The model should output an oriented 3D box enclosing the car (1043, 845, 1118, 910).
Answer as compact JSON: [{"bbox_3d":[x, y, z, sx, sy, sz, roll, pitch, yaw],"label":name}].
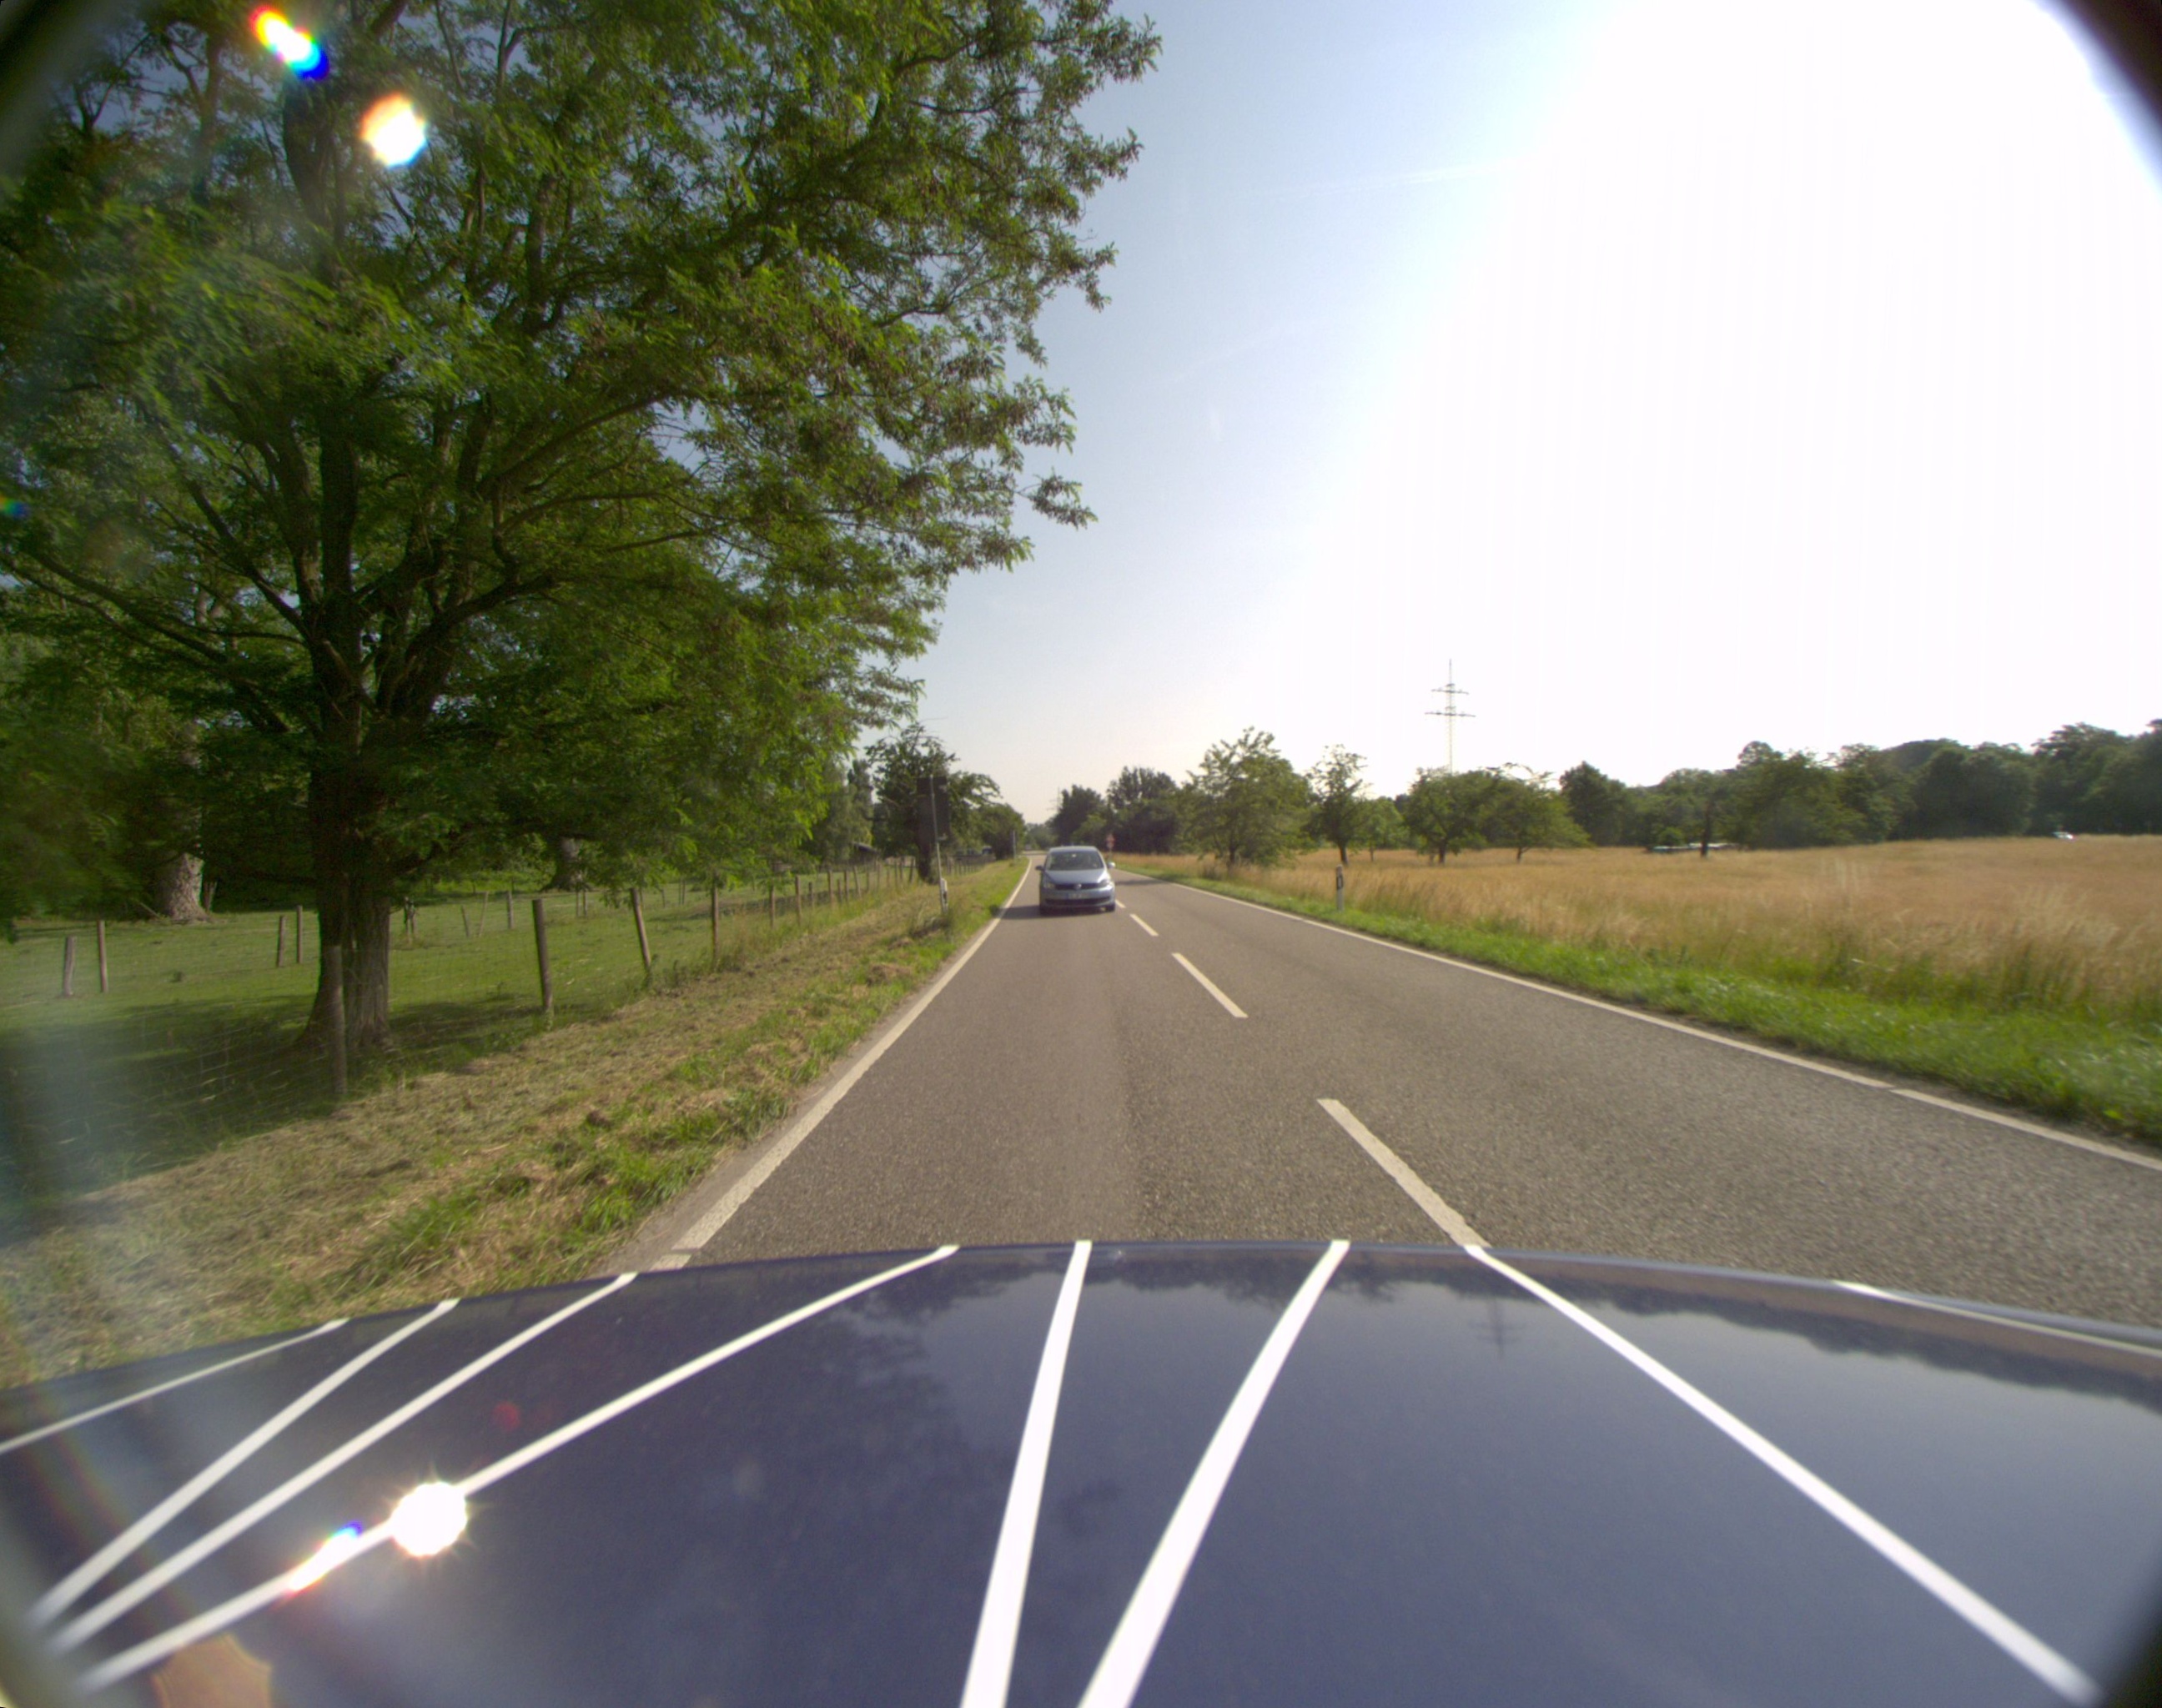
[{"bbox_3d":[-0.120,0.556,20.414,1.718,1.496,4.092,-2,1,-4],"label":"car"}]
